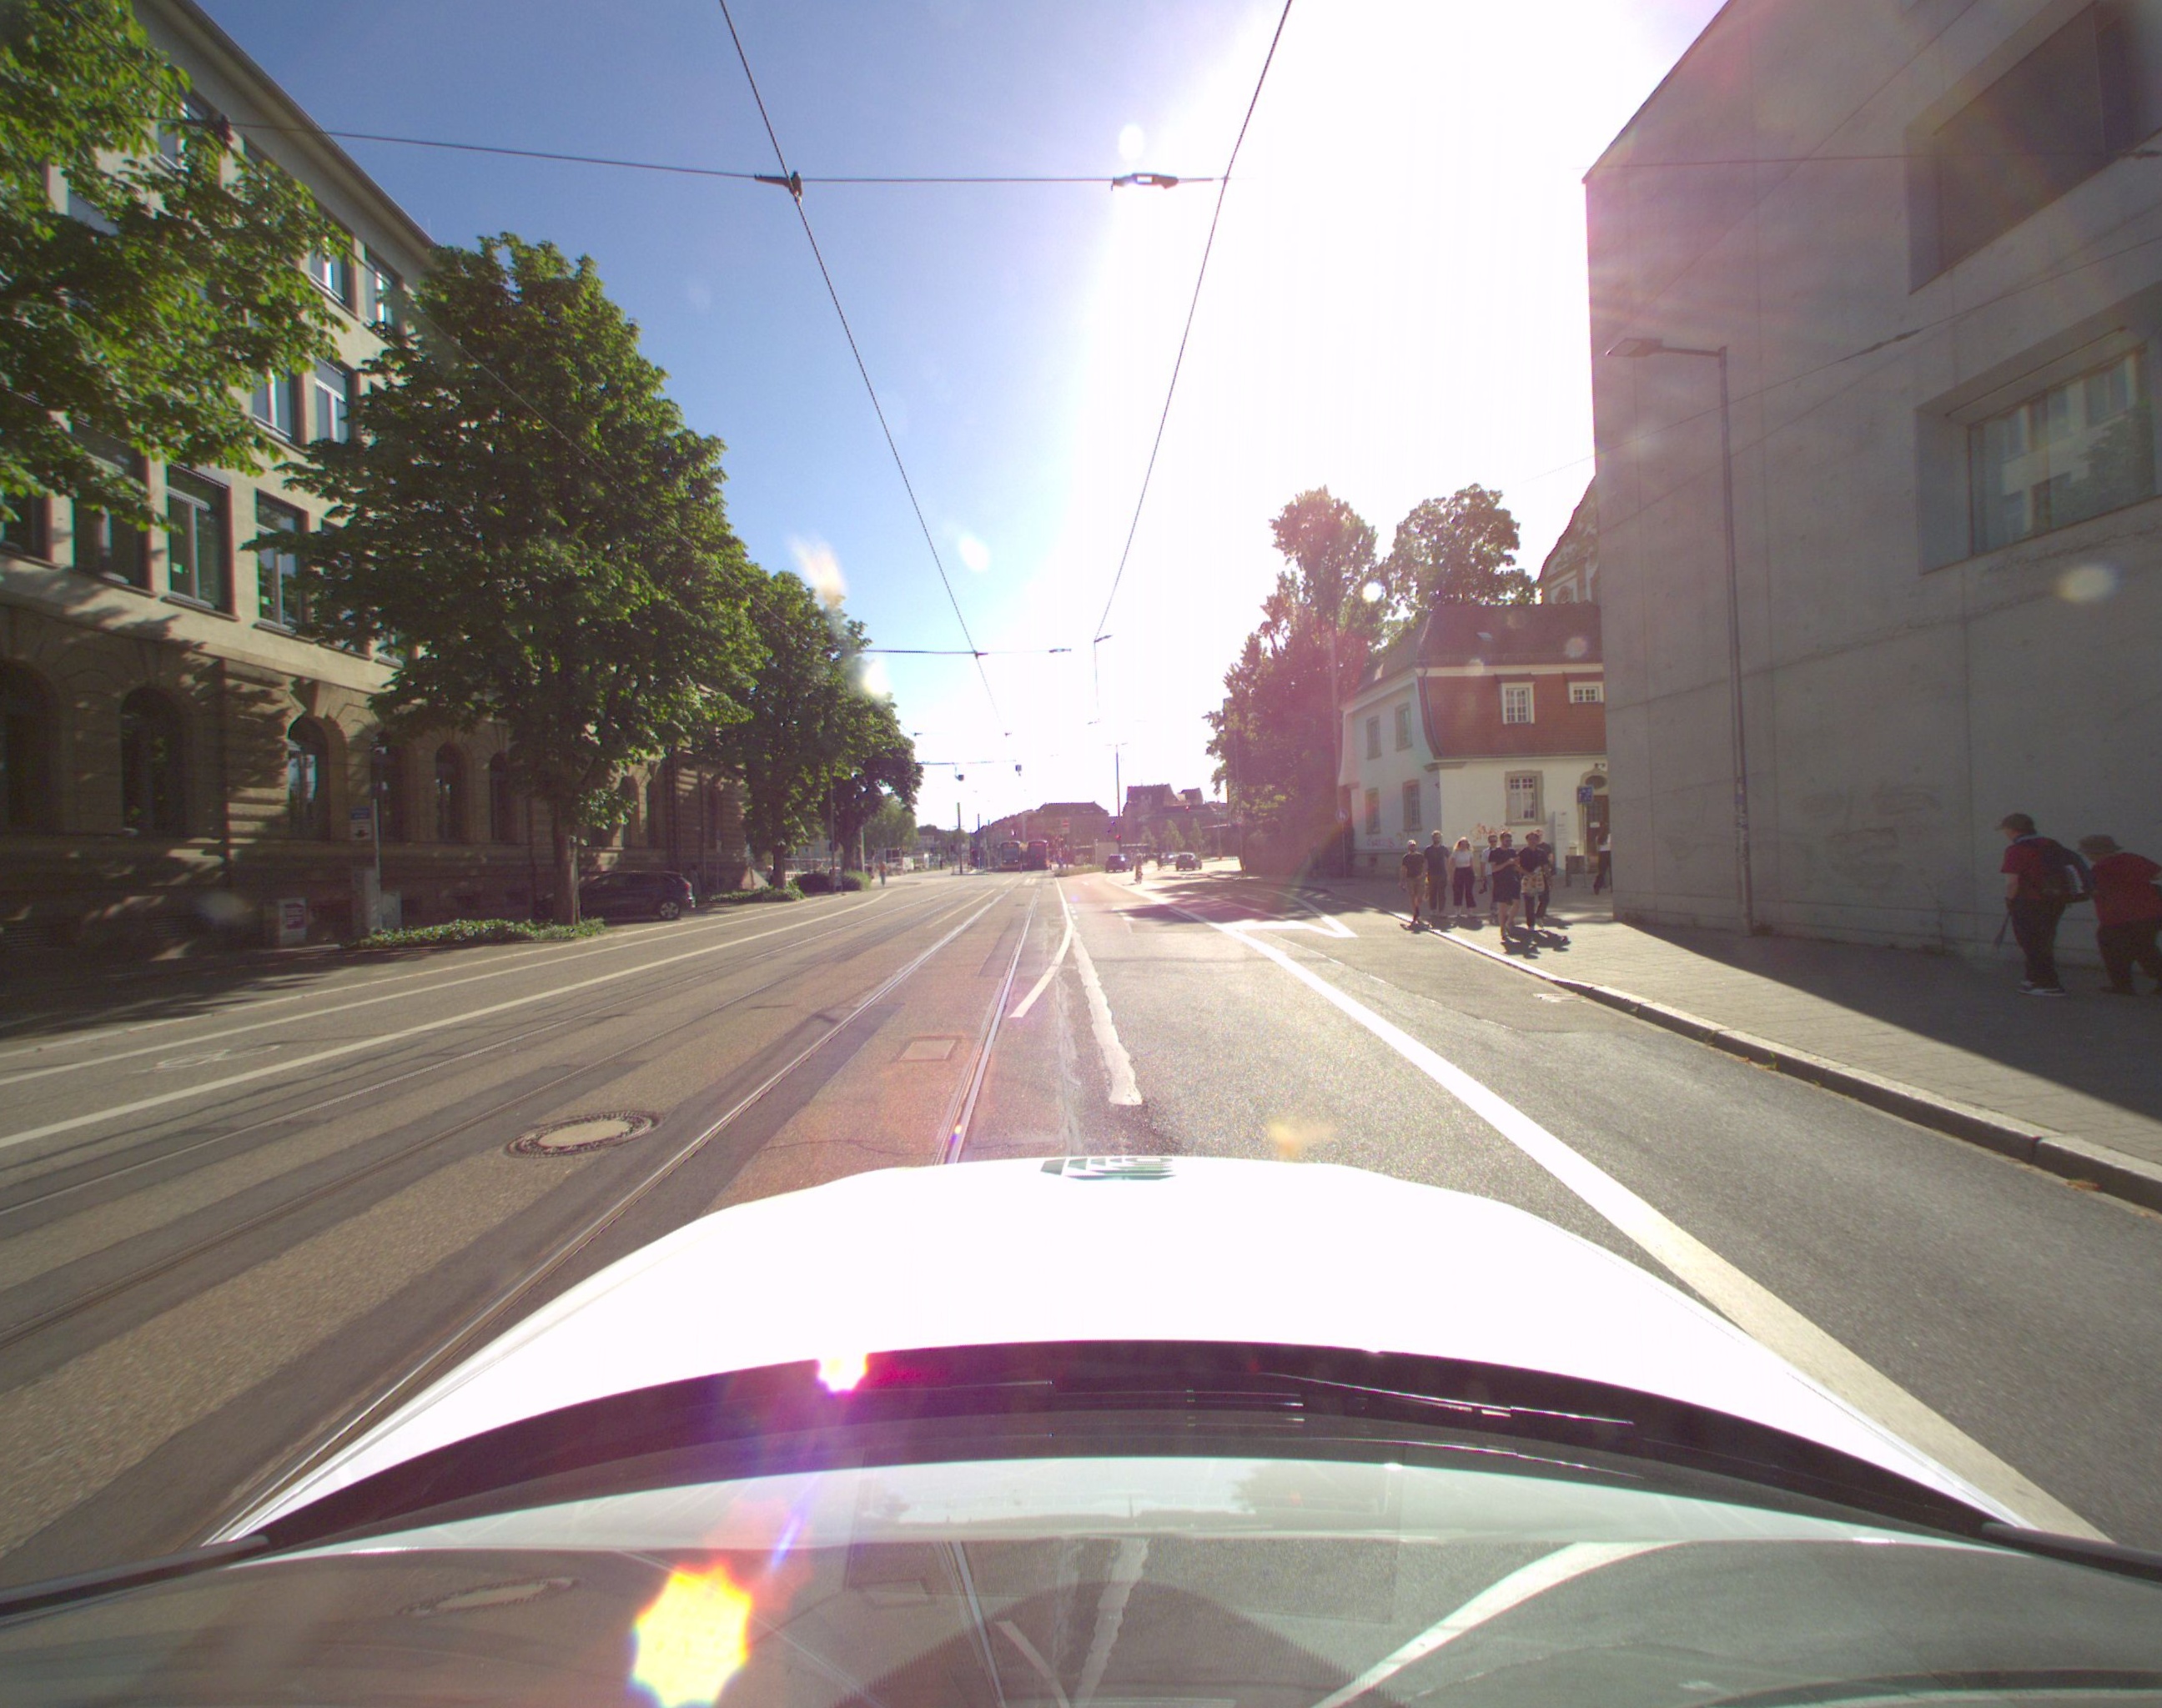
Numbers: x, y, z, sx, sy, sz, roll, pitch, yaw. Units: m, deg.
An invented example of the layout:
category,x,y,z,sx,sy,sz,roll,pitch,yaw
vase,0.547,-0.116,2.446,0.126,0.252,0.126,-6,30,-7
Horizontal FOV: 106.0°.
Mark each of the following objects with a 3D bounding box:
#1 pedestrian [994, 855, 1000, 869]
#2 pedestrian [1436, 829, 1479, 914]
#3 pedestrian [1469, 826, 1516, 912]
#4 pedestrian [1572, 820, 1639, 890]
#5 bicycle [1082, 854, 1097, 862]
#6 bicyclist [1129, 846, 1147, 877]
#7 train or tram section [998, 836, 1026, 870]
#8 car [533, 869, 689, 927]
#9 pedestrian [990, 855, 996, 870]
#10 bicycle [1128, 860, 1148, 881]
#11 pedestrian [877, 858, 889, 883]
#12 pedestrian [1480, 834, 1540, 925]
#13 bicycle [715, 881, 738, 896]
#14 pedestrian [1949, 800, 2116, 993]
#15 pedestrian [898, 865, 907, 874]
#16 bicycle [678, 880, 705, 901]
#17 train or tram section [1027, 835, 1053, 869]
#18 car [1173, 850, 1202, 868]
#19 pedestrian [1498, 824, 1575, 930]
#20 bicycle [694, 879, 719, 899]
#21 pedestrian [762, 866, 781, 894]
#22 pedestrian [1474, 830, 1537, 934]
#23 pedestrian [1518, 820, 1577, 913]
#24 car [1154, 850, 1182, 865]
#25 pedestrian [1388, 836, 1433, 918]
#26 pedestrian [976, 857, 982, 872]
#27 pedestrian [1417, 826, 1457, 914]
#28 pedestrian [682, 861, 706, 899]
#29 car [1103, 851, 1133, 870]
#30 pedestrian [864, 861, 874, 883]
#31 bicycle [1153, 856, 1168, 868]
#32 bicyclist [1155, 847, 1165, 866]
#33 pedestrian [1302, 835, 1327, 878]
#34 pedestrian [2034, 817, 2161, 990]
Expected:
category,x,y,z,sx,sy,sz,roll,pitch,yaw
pedestrian,-10.883,1.031,105.427,0.625,1.827,0.661,-2,0,-4
pedestrian,8.329,0.376,17.996,0.523,1.774,0.740,-7,0,38
pedestrian,8.880,0.310,17.589,0.605,1.774,0.655,-7,0,14
pedestrian,12.770,0.039,19.852,0.992,1.640,0.855,-2,-2,-15
bicycle,1.191,0.547,114.084,1.930,1.103,0.598,-2,0,-5
bicyclist,3.135,0.419,44.625,0.699,1.675,1.106,-1,0,17
train or tram section,-8.099,-0.147,97.338,2.736,3.651,13.770,-2,0,-3
car,-14.328,1.283,25.010,4.012,1.550,1.859,-1,-1,-30
pedestrian,-10.750,1.000,99.793,0.625,1.827,0.661,-2,0,-4
bicycle,3.143,0.905,44.630,0.699,1.104,1.725,0,0,17
pedestrian,-13.833,1.186,56.954,0.638,1.697,0.814,-4,0,-19
pedestrian,8.157,0.476,15.511,0.821,1.604,0.899,-7,0,26
bicycle,-18.470,1.775,42.417,0.479,0.724,1.619,-2,0,-1
pedestrian,8.395,0.356,7.216,0.516,1.600,0.764,-3,0,1
pedestrian,-20.711,1.792,94.554,0.895,1.046,0.655,-2,0,-2
bicycle,-18.216,1.696,38.115,0.479,0.917,1.619,-2,0,-1
train or tram section,-4.947,-0.247,97.890,2.736,3.651,13.770,-2,0,-3
car,9.508,0.413,72.673,1.774,1.511,3.732,-1,0,20
pedestrian,8.109,0.393,14.546,0.645,1.762,0.956,-7,0,1
bicycle,-18.301,1.716,39.858,0.479,0.917,1.619,-2,0,-1
pedestrian,-17.714,1.485,46.583,0.925,1.504,0.700,-2,0,-25
pedestrian,7.459,0.484,14.332,0.493,1.727,0.816,-7,0,1
pedestrian,9.524,0.243,16.645,0.654,1.802,0.733,-6,0,5
car,10.072,0.365,93.793,1.685,1.643,3.736,-1,0,33
pedestrian,7.400,0.510,18.296,0.603,1.746,0.719,-6,0,5
pedestrian,-12.793,1.285,102.459,0.625,1.827,0.661,-2,0,-4
pedestrian,8.041,0.352,18.413,0.516,1.902,0.613,-6,0,5
pedestrian,-17.205,1.150,36.223,0.699,1.635,0.759,0,0,-3
car,3.286,0.525,71.245,1.775,1.604,3.729,-1,0,16
pedestrian,-17.225,1.447,66.241,0.617,1.697,0.678,-2,0,-3
bicycle,7.261,0.713,74.105,0.698,1.055,2.326,0,1,22
bicyclist,7.188,0.229,73.925,0.699,1.700,0.992,0,1,22
pedestrian,10.698,0.101,37.334,0.636,1.903,1.134,-4,0,-1
pedestrian,8.969,0.399,7.038,0.516,1.404,0.764,-3,0,1
